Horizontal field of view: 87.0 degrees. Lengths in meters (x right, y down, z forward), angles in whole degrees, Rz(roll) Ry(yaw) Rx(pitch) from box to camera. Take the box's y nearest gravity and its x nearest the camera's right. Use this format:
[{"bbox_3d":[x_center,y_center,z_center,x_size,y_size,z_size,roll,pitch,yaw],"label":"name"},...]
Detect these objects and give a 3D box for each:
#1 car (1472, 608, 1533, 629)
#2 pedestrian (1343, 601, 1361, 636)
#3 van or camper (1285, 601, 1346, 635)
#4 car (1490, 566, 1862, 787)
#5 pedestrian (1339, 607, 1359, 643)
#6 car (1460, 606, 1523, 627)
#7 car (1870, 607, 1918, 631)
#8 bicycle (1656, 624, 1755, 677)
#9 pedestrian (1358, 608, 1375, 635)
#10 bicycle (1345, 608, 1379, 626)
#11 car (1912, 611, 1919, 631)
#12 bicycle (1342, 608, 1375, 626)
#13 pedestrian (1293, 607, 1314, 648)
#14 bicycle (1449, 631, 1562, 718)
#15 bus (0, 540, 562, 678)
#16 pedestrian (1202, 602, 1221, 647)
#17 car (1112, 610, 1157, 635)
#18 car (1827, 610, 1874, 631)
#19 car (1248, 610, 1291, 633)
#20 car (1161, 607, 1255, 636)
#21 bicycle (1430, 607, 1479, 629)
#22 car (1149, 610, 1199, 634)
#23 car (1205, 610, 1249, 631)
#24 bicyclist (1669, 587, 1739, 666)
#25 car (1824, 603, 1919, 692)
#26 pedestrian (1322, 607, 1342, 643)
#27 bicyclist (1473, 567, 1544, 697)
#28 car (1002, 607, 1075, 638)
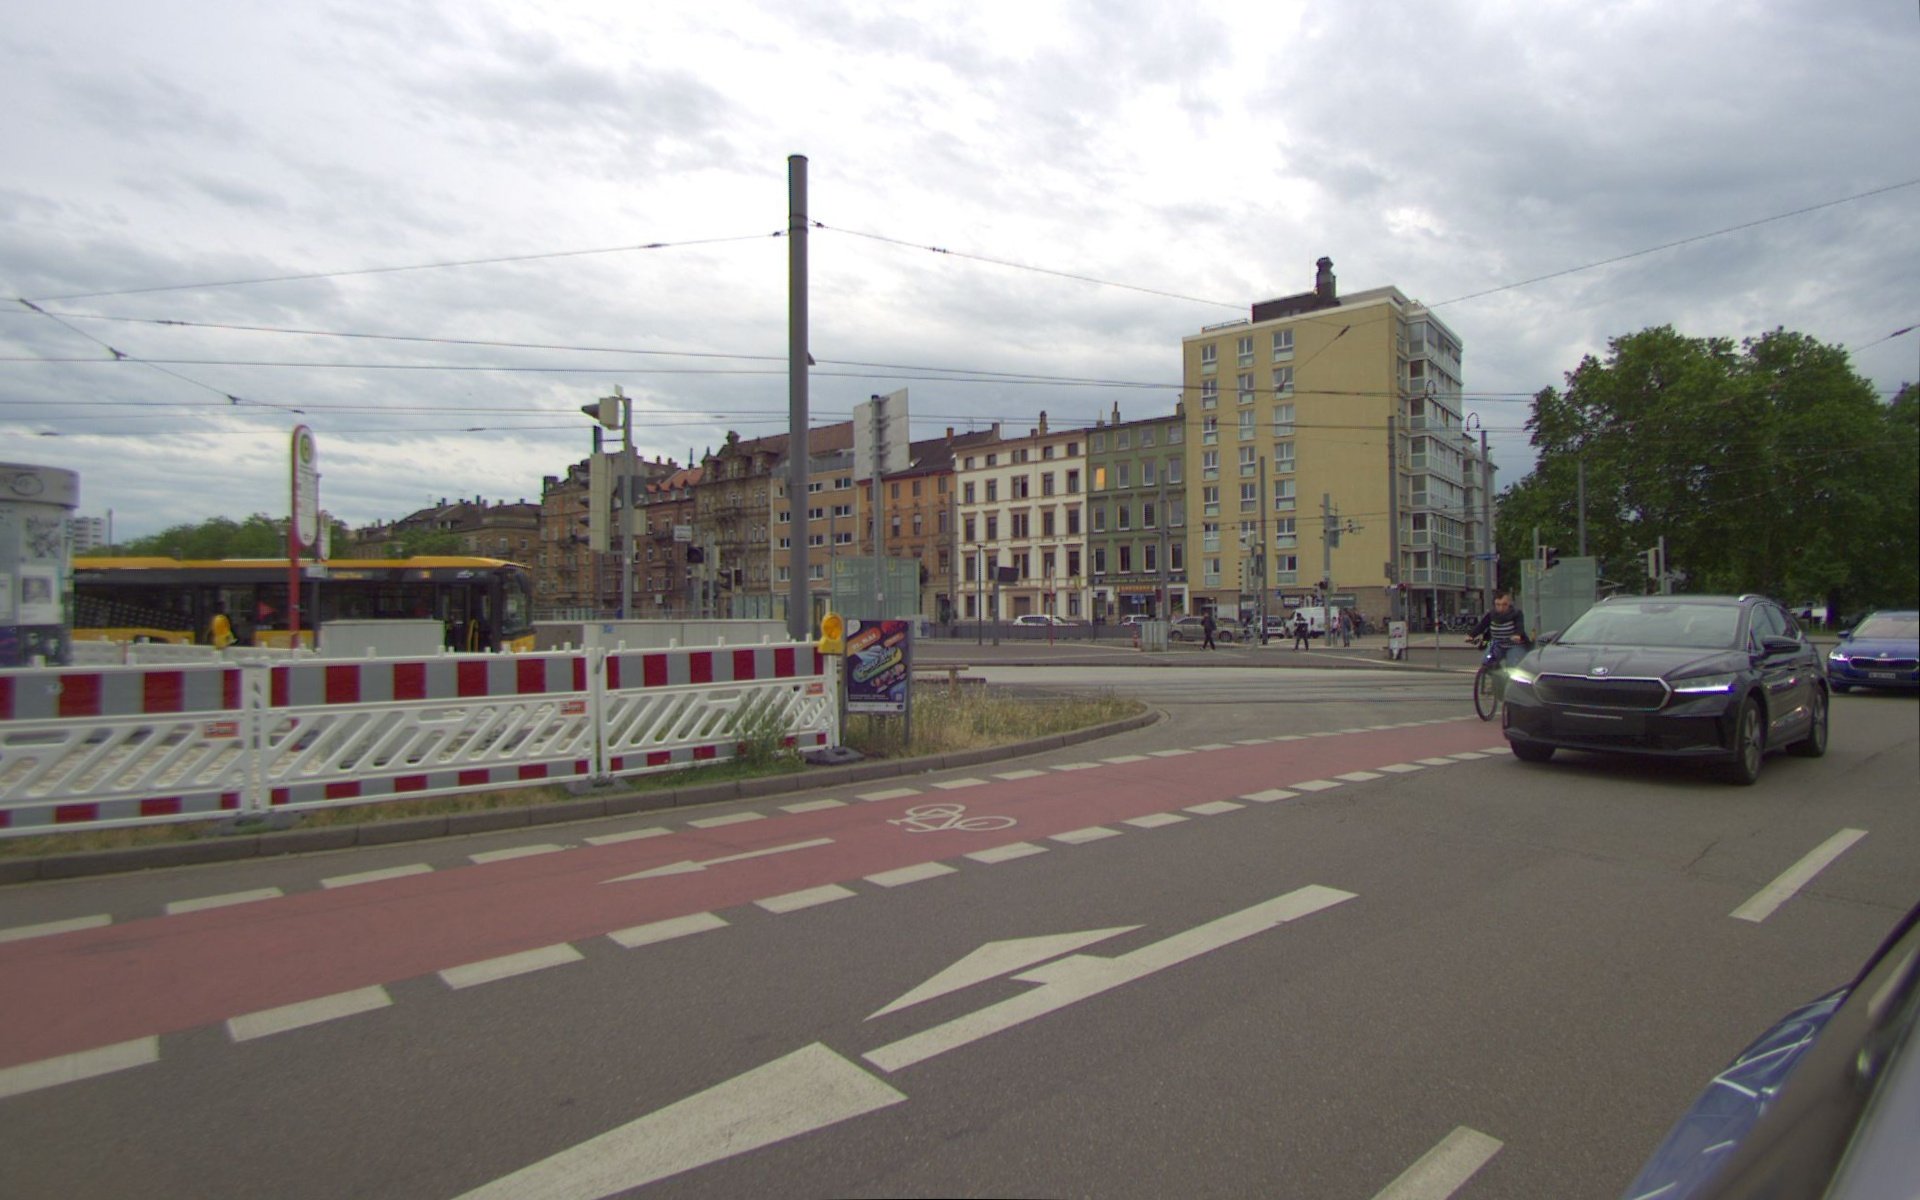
[{"bbox_3d":[40.680,1.389,75.848,3.967,1.460,1.978,1,0,31],"label":"car"},{"bbox_3d":[20.318,0.968,52.455,0.778,1.779,1.043,0,0,18],"label":"pedestrian"},{"bbox_3d":[22.293,1.117,63.751,2.132,2.004,5.461,0,-1,3],"label":"van or camper"},{"bbox_3d":[7.126,0.606,9.895,4.434,1.679,1.907,1,-1,-40],"label":"car"},{"bbox_3d":[17.791,1.122,46.305,0.773,1.622,0.892,0,-1,16],"label":"pedestrian"},{"bbox_3d":[38.732,1.207,73.783,3.970,1.483,1.977,0,-1,33],"label":"car"},{"bbox_3d":[81.091,1.611,87.845,4.150,1.616,1.959,-7,3,-31],"label":"car"},{"bbox_3d":[15.916,1.063,21.598,1.974,1.093,0.765,0,-3,-23],"label":"bicycle"},{"bbox_3d":[27.227,1.449,67.774,0.902,1.759,0.801,0,-1,40],"label":"pedestrian"},{"bbox_3d":[27.615,1.168,69.536,2.028,1.184,0.661,0,-1,37],"label":"bicycle"},{"bbox_3d":[82.697,1.645,85.715,4.151,1.473,1.959,-8,4,-31],"label":"car"},{"bbox_3d":[27.184,1.159,69.002,2.028,1.184,0.661,0,-1,37],"label":"bicycle"},{"bbox_3d":[14.352,1.136,42.321,0.773,1.664,0.899,0,-1,16],"label":"pedestrian"},{"bbox_3d":[7.483,0.981,13.836,2.088,1.068,0.626,1,-1,-40],"label":"bicycle"},{"bbox_3d":[-17.395,0.230,26.319,12.780,3.310,3.029,0,-1,-6],"label":"bus"},{"bbox_3d":[10.903,1.068,43.913,0.773,1.936,0.899,0,-1,16],"label":"pedestrian"},{"bbox_3d":[12.055,1.530,70.034,1.700,1.608,3.745,0,-1,-15],"label":"car"},{"bbox_3d":[79.628,1.787,90.527,4.149,1.484,1.959,-5,2,-31],"label":"car"},{"bbox_3d":[20.031,1.360,65.619,1.704,1.435,3.735,-1,0,3],"label":"car"},{"bbox_3d":[13.041,1.103,53.274,4.428,1.505,1.969,-1,-1,42],"label":"car"},{"bbox_3d":[32.345,1.191,66.225,2.772,1.395,0.890,0,-1,42],"label":"bicycle"},{"bbox_3d":[14.523,1.471,68.844,1.852,1.602,3.745,0,-1,-15],"label":"car"},{"bbox_3d":[17.439,1.304,66.209,1.647,1.320,3.741,0,0,-4],"label":"car"},{"bbox_3d":[15.895,0.565,21.639,0.914,1.639,0.792,1,-3,-23],"label":"bicyclist"},{"bbox_3d":[17.250,0.789,18.002,4.666,1.454,1.771,1,-1,-35],"label":"car"},{"bbox_3d":[17.133,1.132,46.621,0.758,1.632,0.946,0,-1,16],"label":"pedestrian"},{"bbox_3d":[7.513,0.434,13.867,0.791,1.712,0.616,2,-2,-40],"label":"bicyclist"},{"bbox_3d":[4.616,1.288,59.839,3.984,1.772,1.969,-1,-1,42],"label":"car"}]
